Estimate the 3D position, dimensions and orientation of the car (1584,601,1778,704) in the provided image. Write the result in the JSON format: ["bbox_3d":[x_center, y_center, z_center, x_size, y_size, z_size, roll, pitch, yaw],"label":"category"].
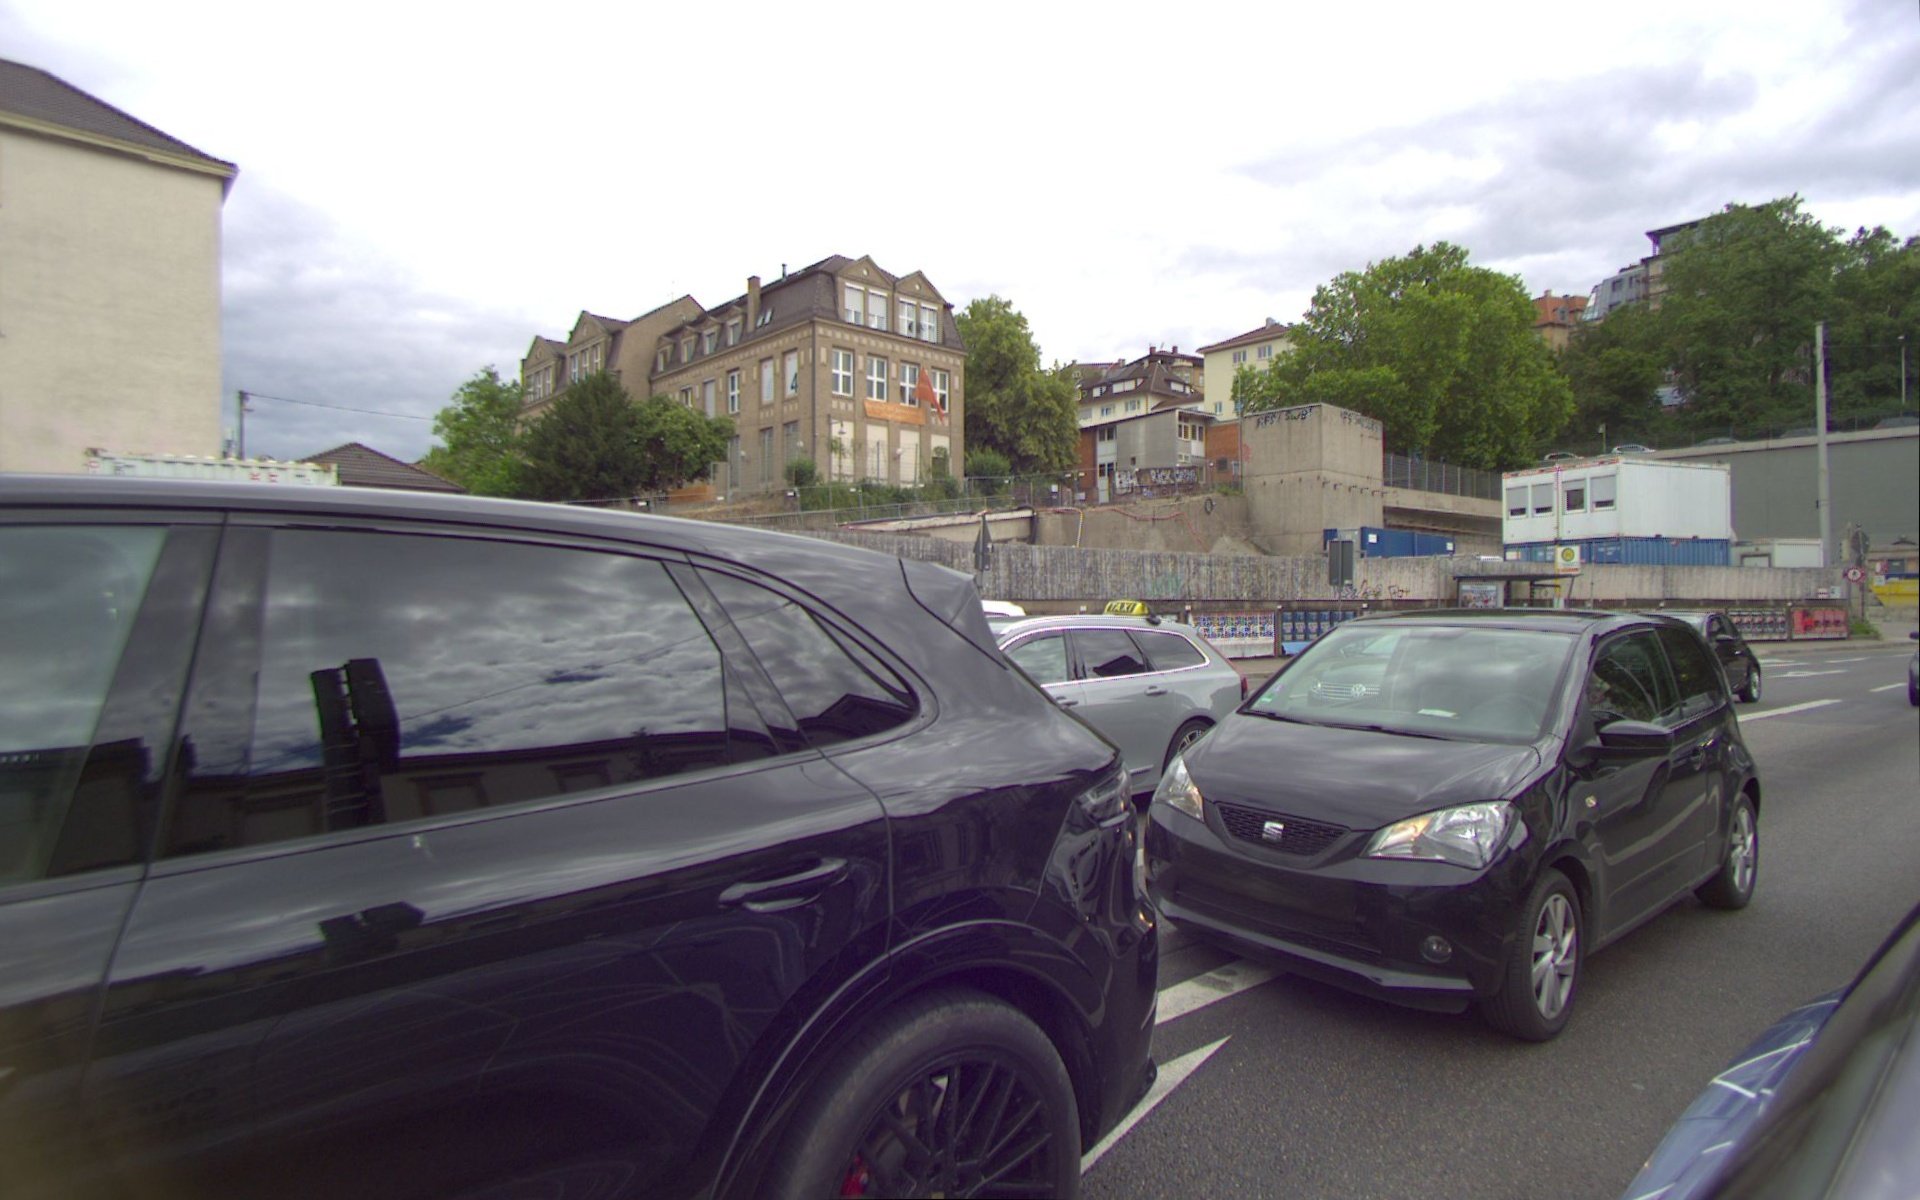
[{"bbox_3d":[11.493,0.740,16.057,3.740,1.383,1.679,-1,0,-41],"label":"car"}]

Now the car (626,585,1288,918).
[{"bbox_3d":[0.255,0.724,7.263,4.725,1.645,1.827,-1,0,-41],"label":"car"}]

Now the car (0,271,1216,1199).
[{"bbox_3d":[-1.668,0.542,1.574,4.406,1.736,1.827,-1,0,-41],"label":"car"}]

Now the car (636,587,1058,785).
[{"bbox_3d":[-1.022,0.700,10.480,4.136,1.645,1.679,-1,0,-41],"label":"car"}]

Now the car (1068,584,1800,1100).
[{"bbox_3d":[2.422,0.672,4.793,3.636,1.476,1.827,-1,0,-41],"label":"car"}]

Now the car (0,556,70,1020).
[{"bbox_3d":[-5.318,0.682,3.040,3.930,1.645,1.679,-1,0,-41],"label":"car"}]

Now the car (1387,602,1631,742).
[{"bbox_3d":[6.811,0.772,12.478,3.100,1.449,1.664,-1,0,-41],"label":"car"}]
